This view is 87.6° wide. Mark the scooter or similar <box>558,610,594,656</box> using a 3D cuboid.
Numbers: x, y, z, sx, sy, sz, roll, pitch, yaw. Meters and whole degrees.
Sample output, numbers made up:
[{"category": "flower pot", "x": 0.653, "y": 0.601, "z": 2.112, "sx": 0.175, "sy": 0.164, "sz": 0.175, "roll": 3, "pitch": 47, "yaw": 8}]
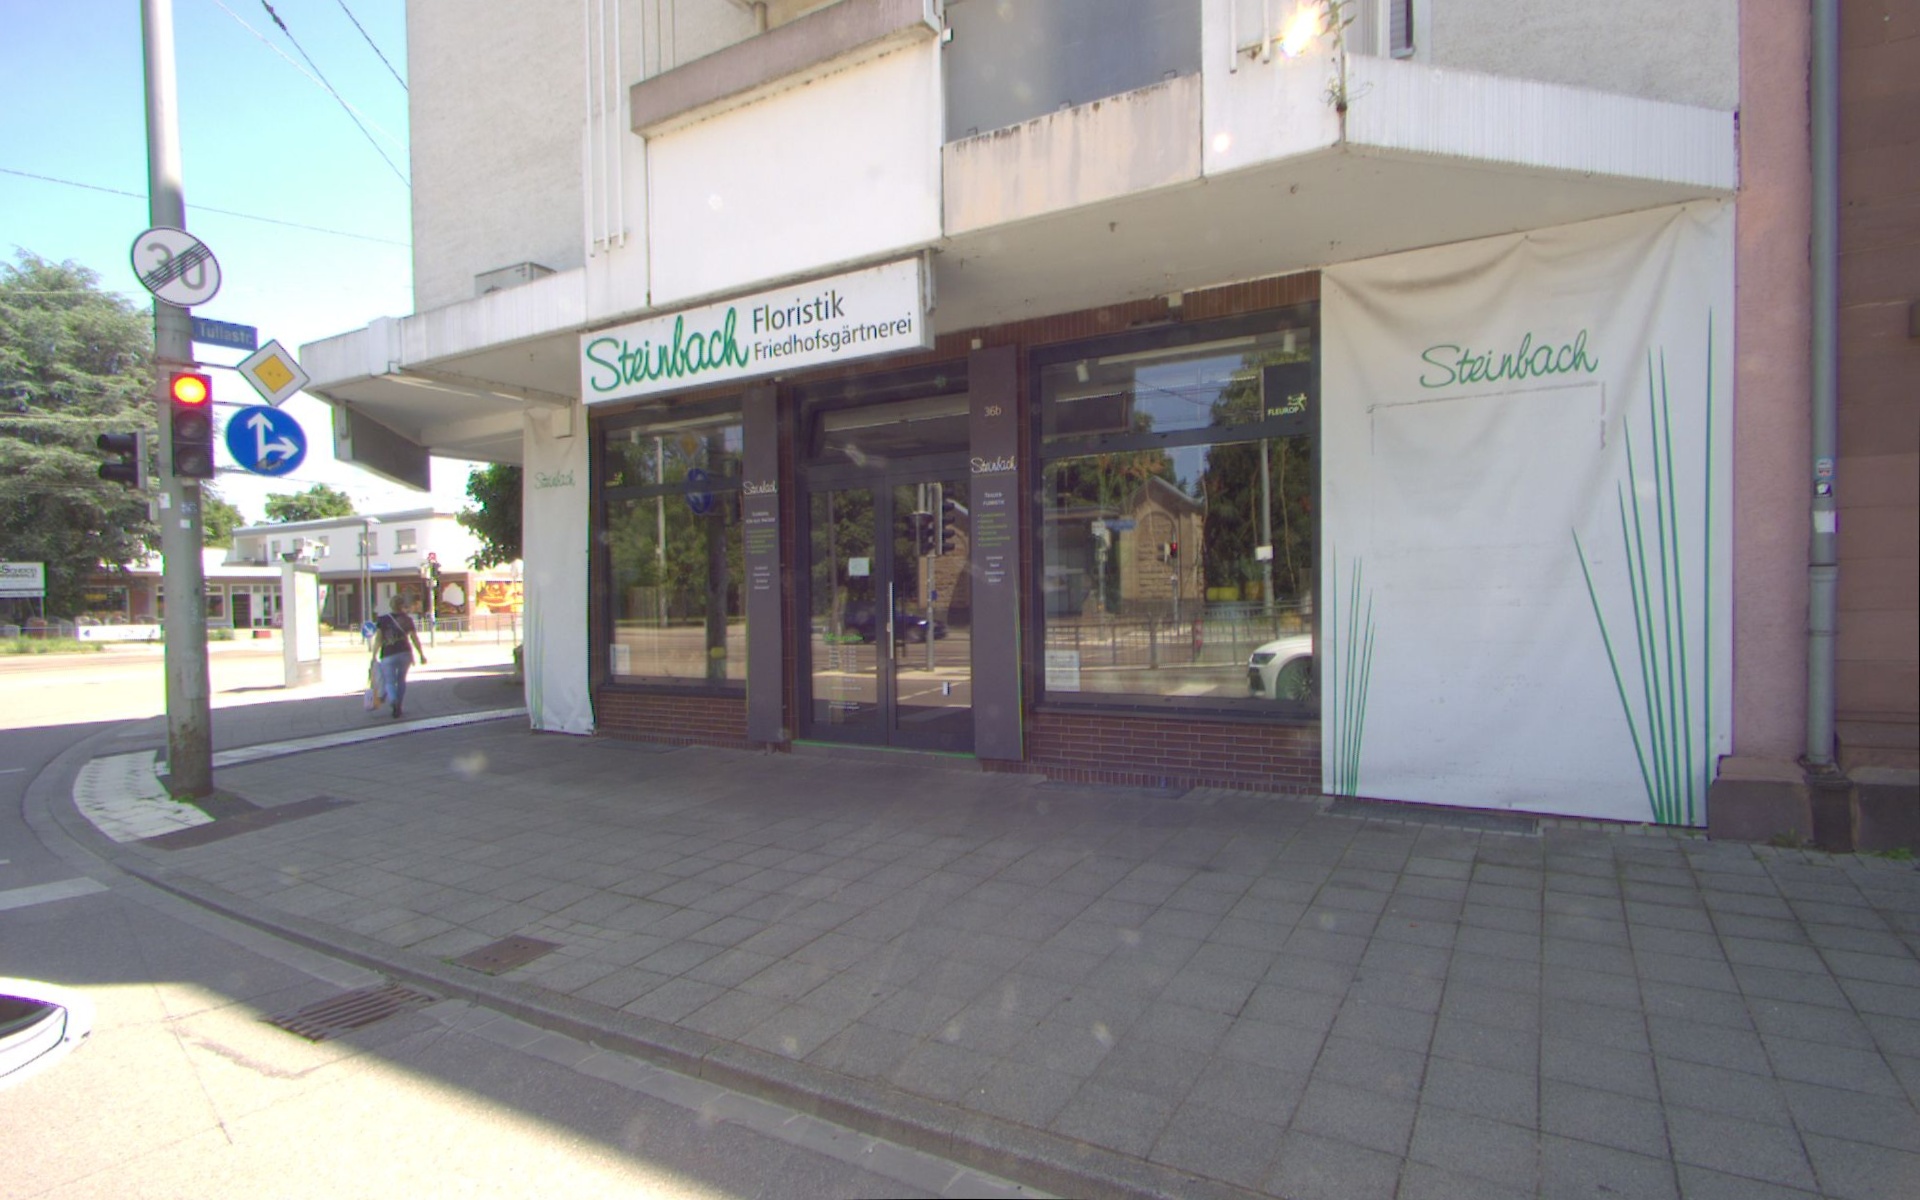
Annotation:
[{"category": "scooter or similar", "x": -10.470, "y": 0.885, "z": 27.300, "sx": 0.387, "sy": 1.229, "sz": 1.255, "roll": 0, "pitch": 0, "yaw": 5}]

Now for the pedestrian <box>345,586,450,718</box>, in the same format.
[{"category": "pedestrian", "x": -7.281, "y": 0.647, "z": 12.972, "sx": 0.816, "sy": 1.606, "sz": 0.822, "roll": 0, "pitch": 4, "yaw": 38}]
